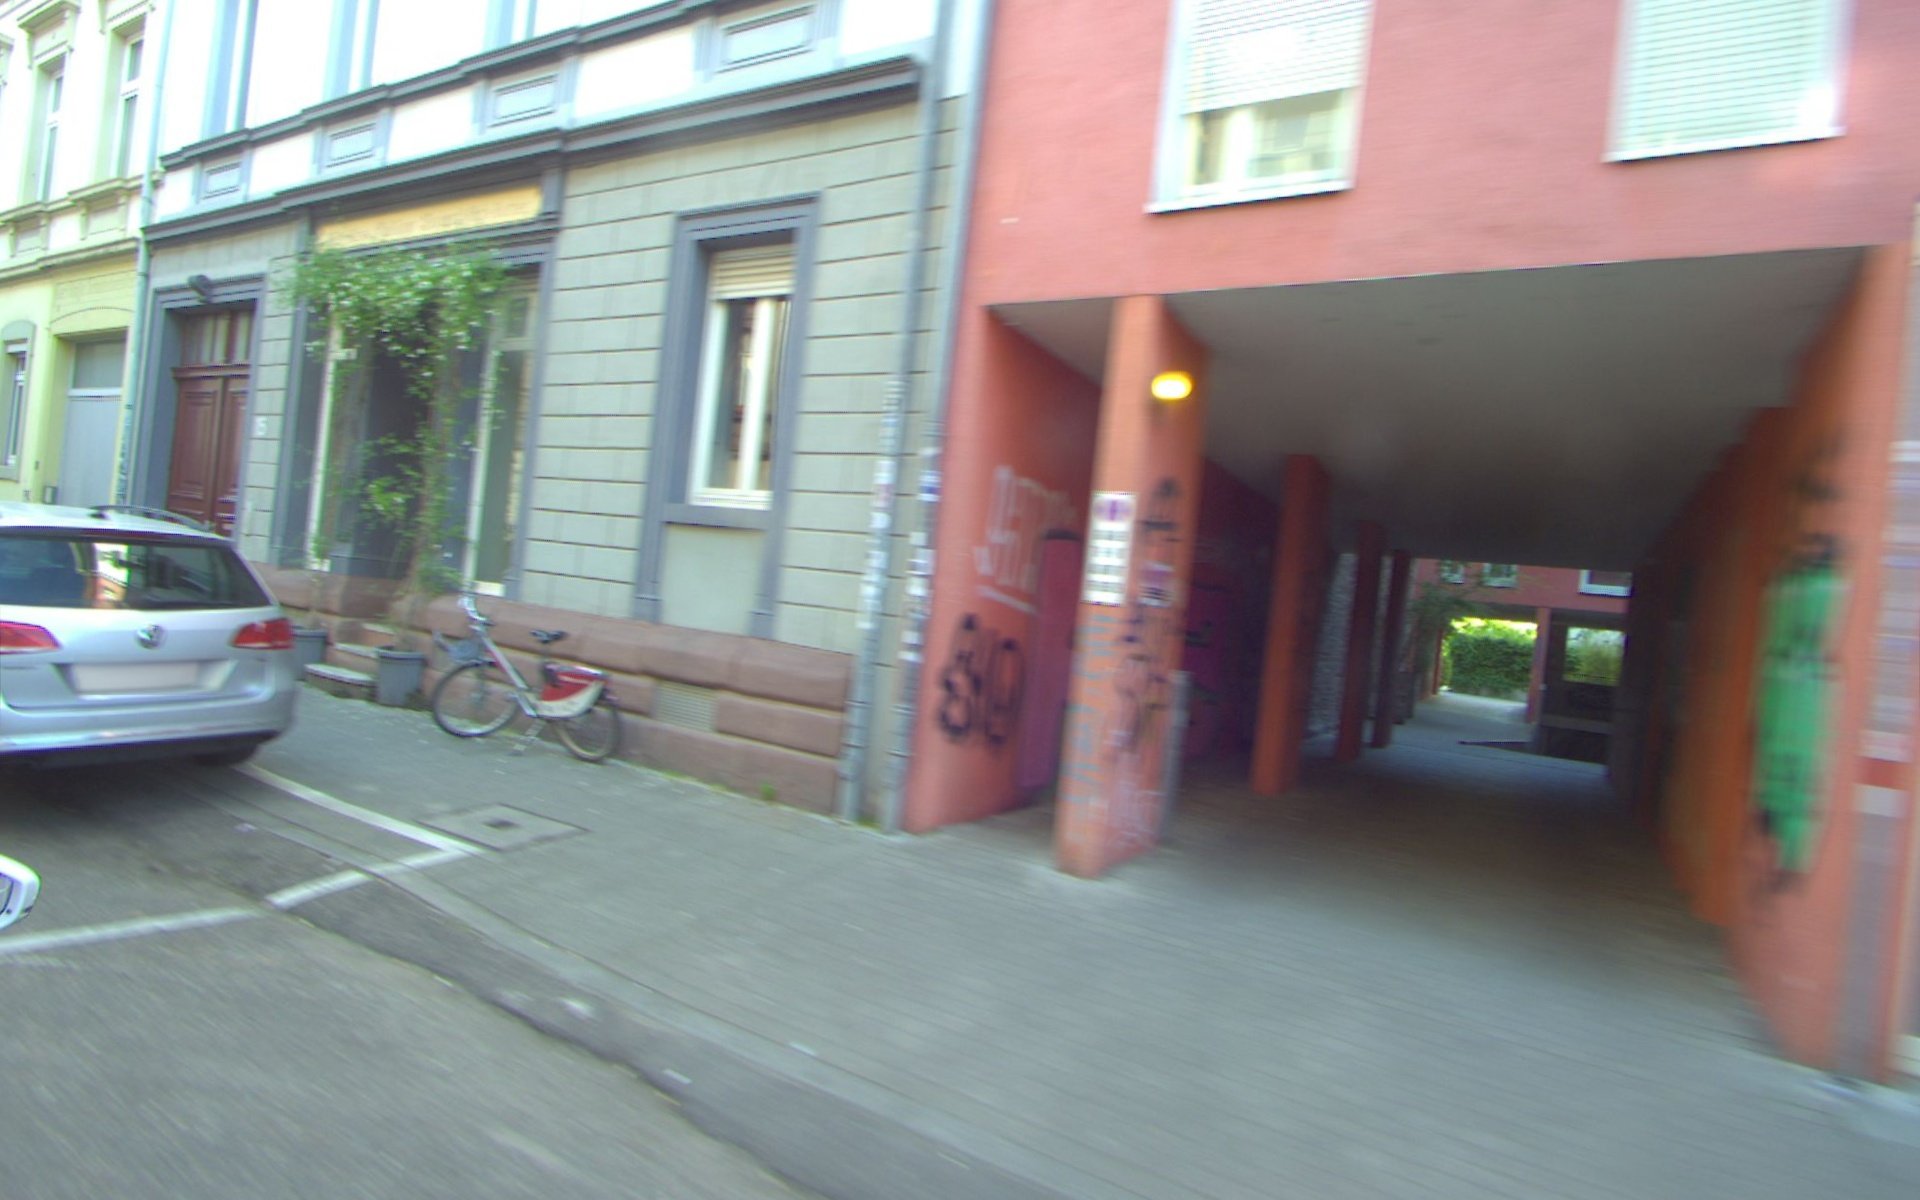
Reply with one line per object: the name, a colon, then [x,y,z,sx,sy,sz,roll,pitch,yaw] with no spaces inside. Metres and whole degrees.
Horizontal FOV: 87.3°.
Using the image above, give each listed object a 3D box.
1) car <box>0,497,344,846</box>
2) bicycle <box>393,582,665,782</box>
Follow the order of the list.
car: [-5.831,0.148,5.978,4.470,1.474,1.786,6,3,30]
bicycle: [-3.048,0.514,7.064,1.868,1.112,0.711,6,3,29]
